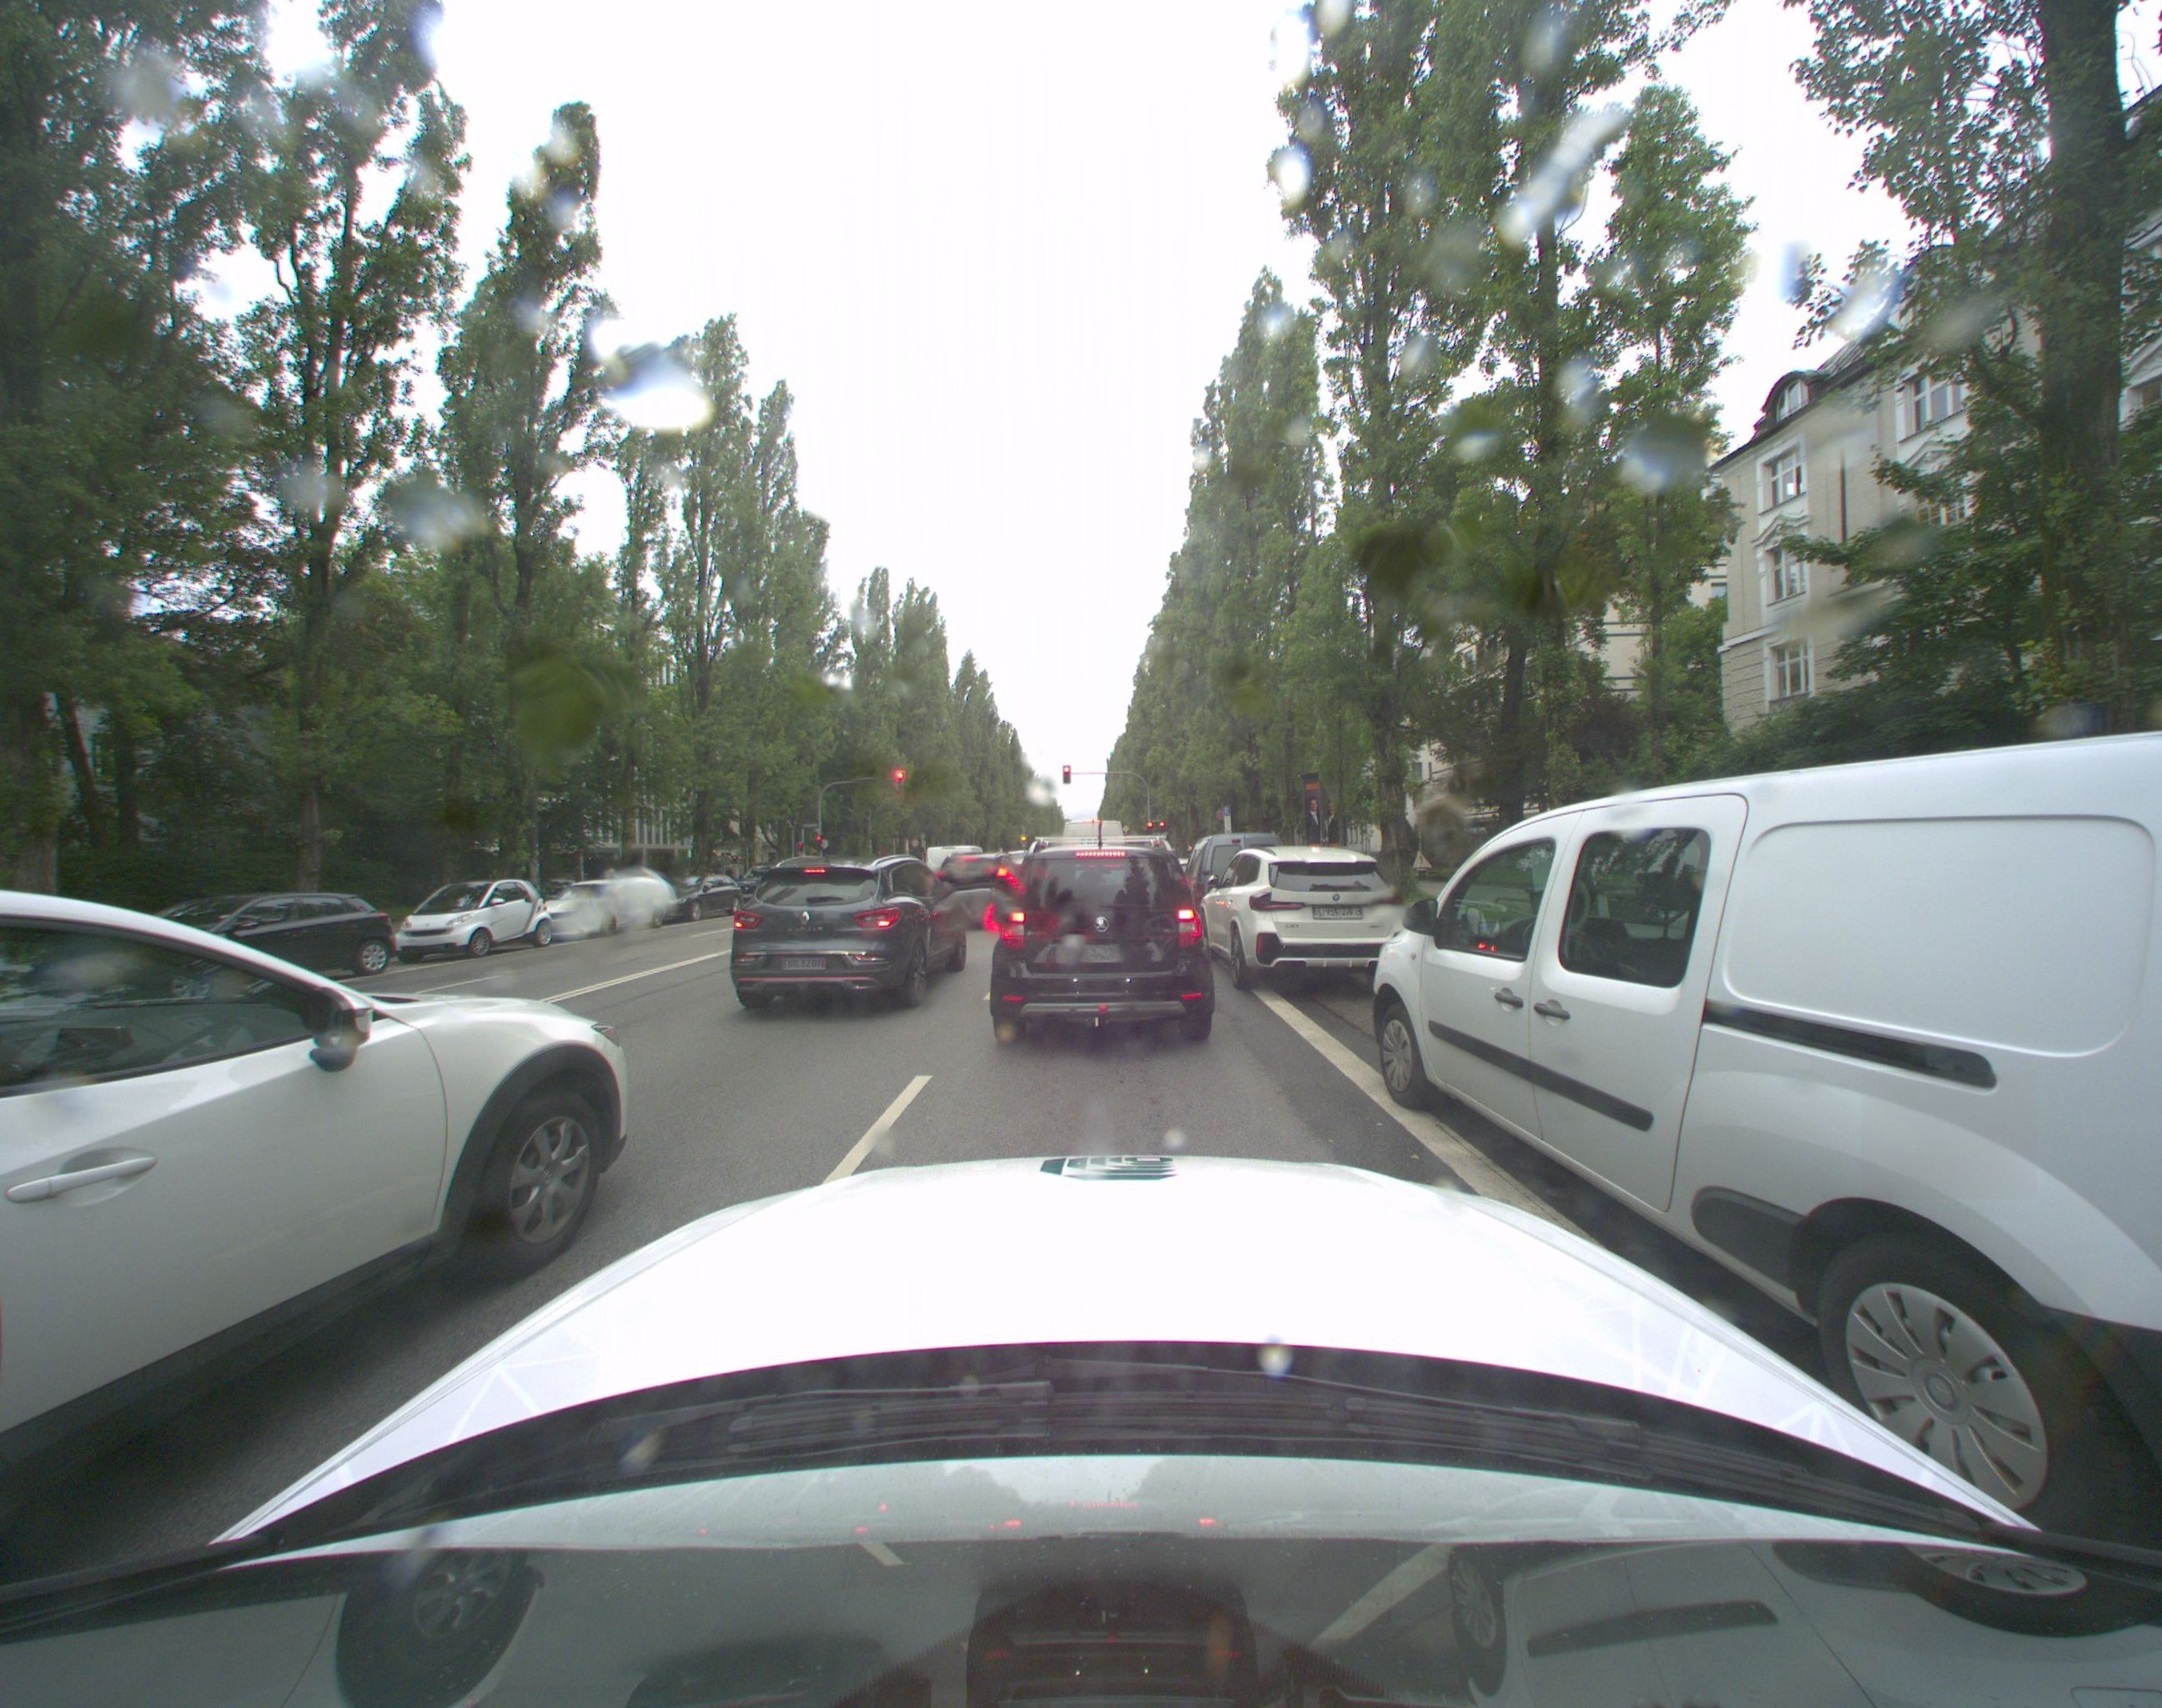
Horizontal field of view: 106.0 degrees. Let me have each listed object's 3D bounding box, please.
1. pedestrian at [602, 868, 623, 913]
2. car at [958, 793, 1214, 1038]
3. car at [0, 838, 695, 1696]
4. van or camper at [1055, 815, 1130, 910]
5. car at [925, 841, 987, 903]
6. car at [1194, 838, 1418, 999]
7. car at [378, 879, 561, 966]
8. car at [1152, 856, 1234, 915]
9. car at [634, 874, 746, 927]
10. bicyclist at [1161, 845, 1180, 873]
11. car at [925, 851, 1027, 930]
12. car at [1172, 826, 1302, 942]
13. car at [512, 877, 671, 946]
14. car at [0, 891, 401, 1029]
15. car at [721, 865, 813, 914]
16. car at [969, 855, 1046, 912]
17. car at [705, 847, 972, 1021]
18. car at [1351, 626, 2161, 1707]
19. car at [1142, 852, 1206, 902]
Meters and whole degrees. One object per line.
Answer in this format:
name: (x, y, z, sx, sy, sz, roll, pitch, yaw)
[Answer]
pedestrian: (-16.511, 1.276, 28.706, 0.463, 1.528, 0.395, -2, 0, 1)
car: (0.078, 0.445, 7.881, 1.849, 1.770, 4.001, 0, 0, 1)
car: (-2.872, 0.763, 1.801, 1.897, 1.525, 4.012, -2, 0, 3)
van or camper: (0.297, 0.221, 24.462, 1.969, 2.548, 4.023, -2, 0, -1)
car: (-4.655, 0.663, 30.944, 1.777, 2.111, 4.021, -3, 0, -2)
car: (2.595, 0.648, 10.435, 1.735, 1.593, 4.212, -2, 0, 1)
car: (-12.527, 1.344, 16.915, 1.423, 1.447, 2.966, -5, 0, 0)
car: (2.907, 0.779, 21.783, 1.729, 1.387, 3.563, -2, 0, 1)
car: (-12.549, 1.432, 26.455, 1.619, 1.389, 4.164, -4, 0, -2)
bicyclist: (5.550, 0.308, 50.459, 0.906, 1.722, 0.821, -2, 0, -12)
car: (-2.305, 0.749, 18.928, 1.775, 1.620, 4.025, -1, 0, 1)
car: (2.850, 0.497, 15.708, 1.729, 1.895, 4.025, -2, 0, 1)
car: (-12.502, 1.399, 21.146, 1.619, 1.389, 4.164, -4, 0, -2)
car: (-12.579, 1.409, 12.053, 1.594, 1.425, 3.853, -4, 0, 2)
car: (-12.412, 1.338, 32.572, 1.844, 1.654, 4.693, -4, 0, -2)
car: (-2.189, 0.853, 25.475, 1.987, 1.560, 4.000, -2, 0, 0)
car: (-2.523, 0.741, 9.618, 1.829, 1.586, 4.185, -1, 0, 1)
car: (2.747, 0.524, 3.357, 1.845, 1.881, 4.168, -2, 0, 0)
car: (3.015, 0.716, 26.980, 1.729, 1.475, 3.563, -2, 0, 1)
